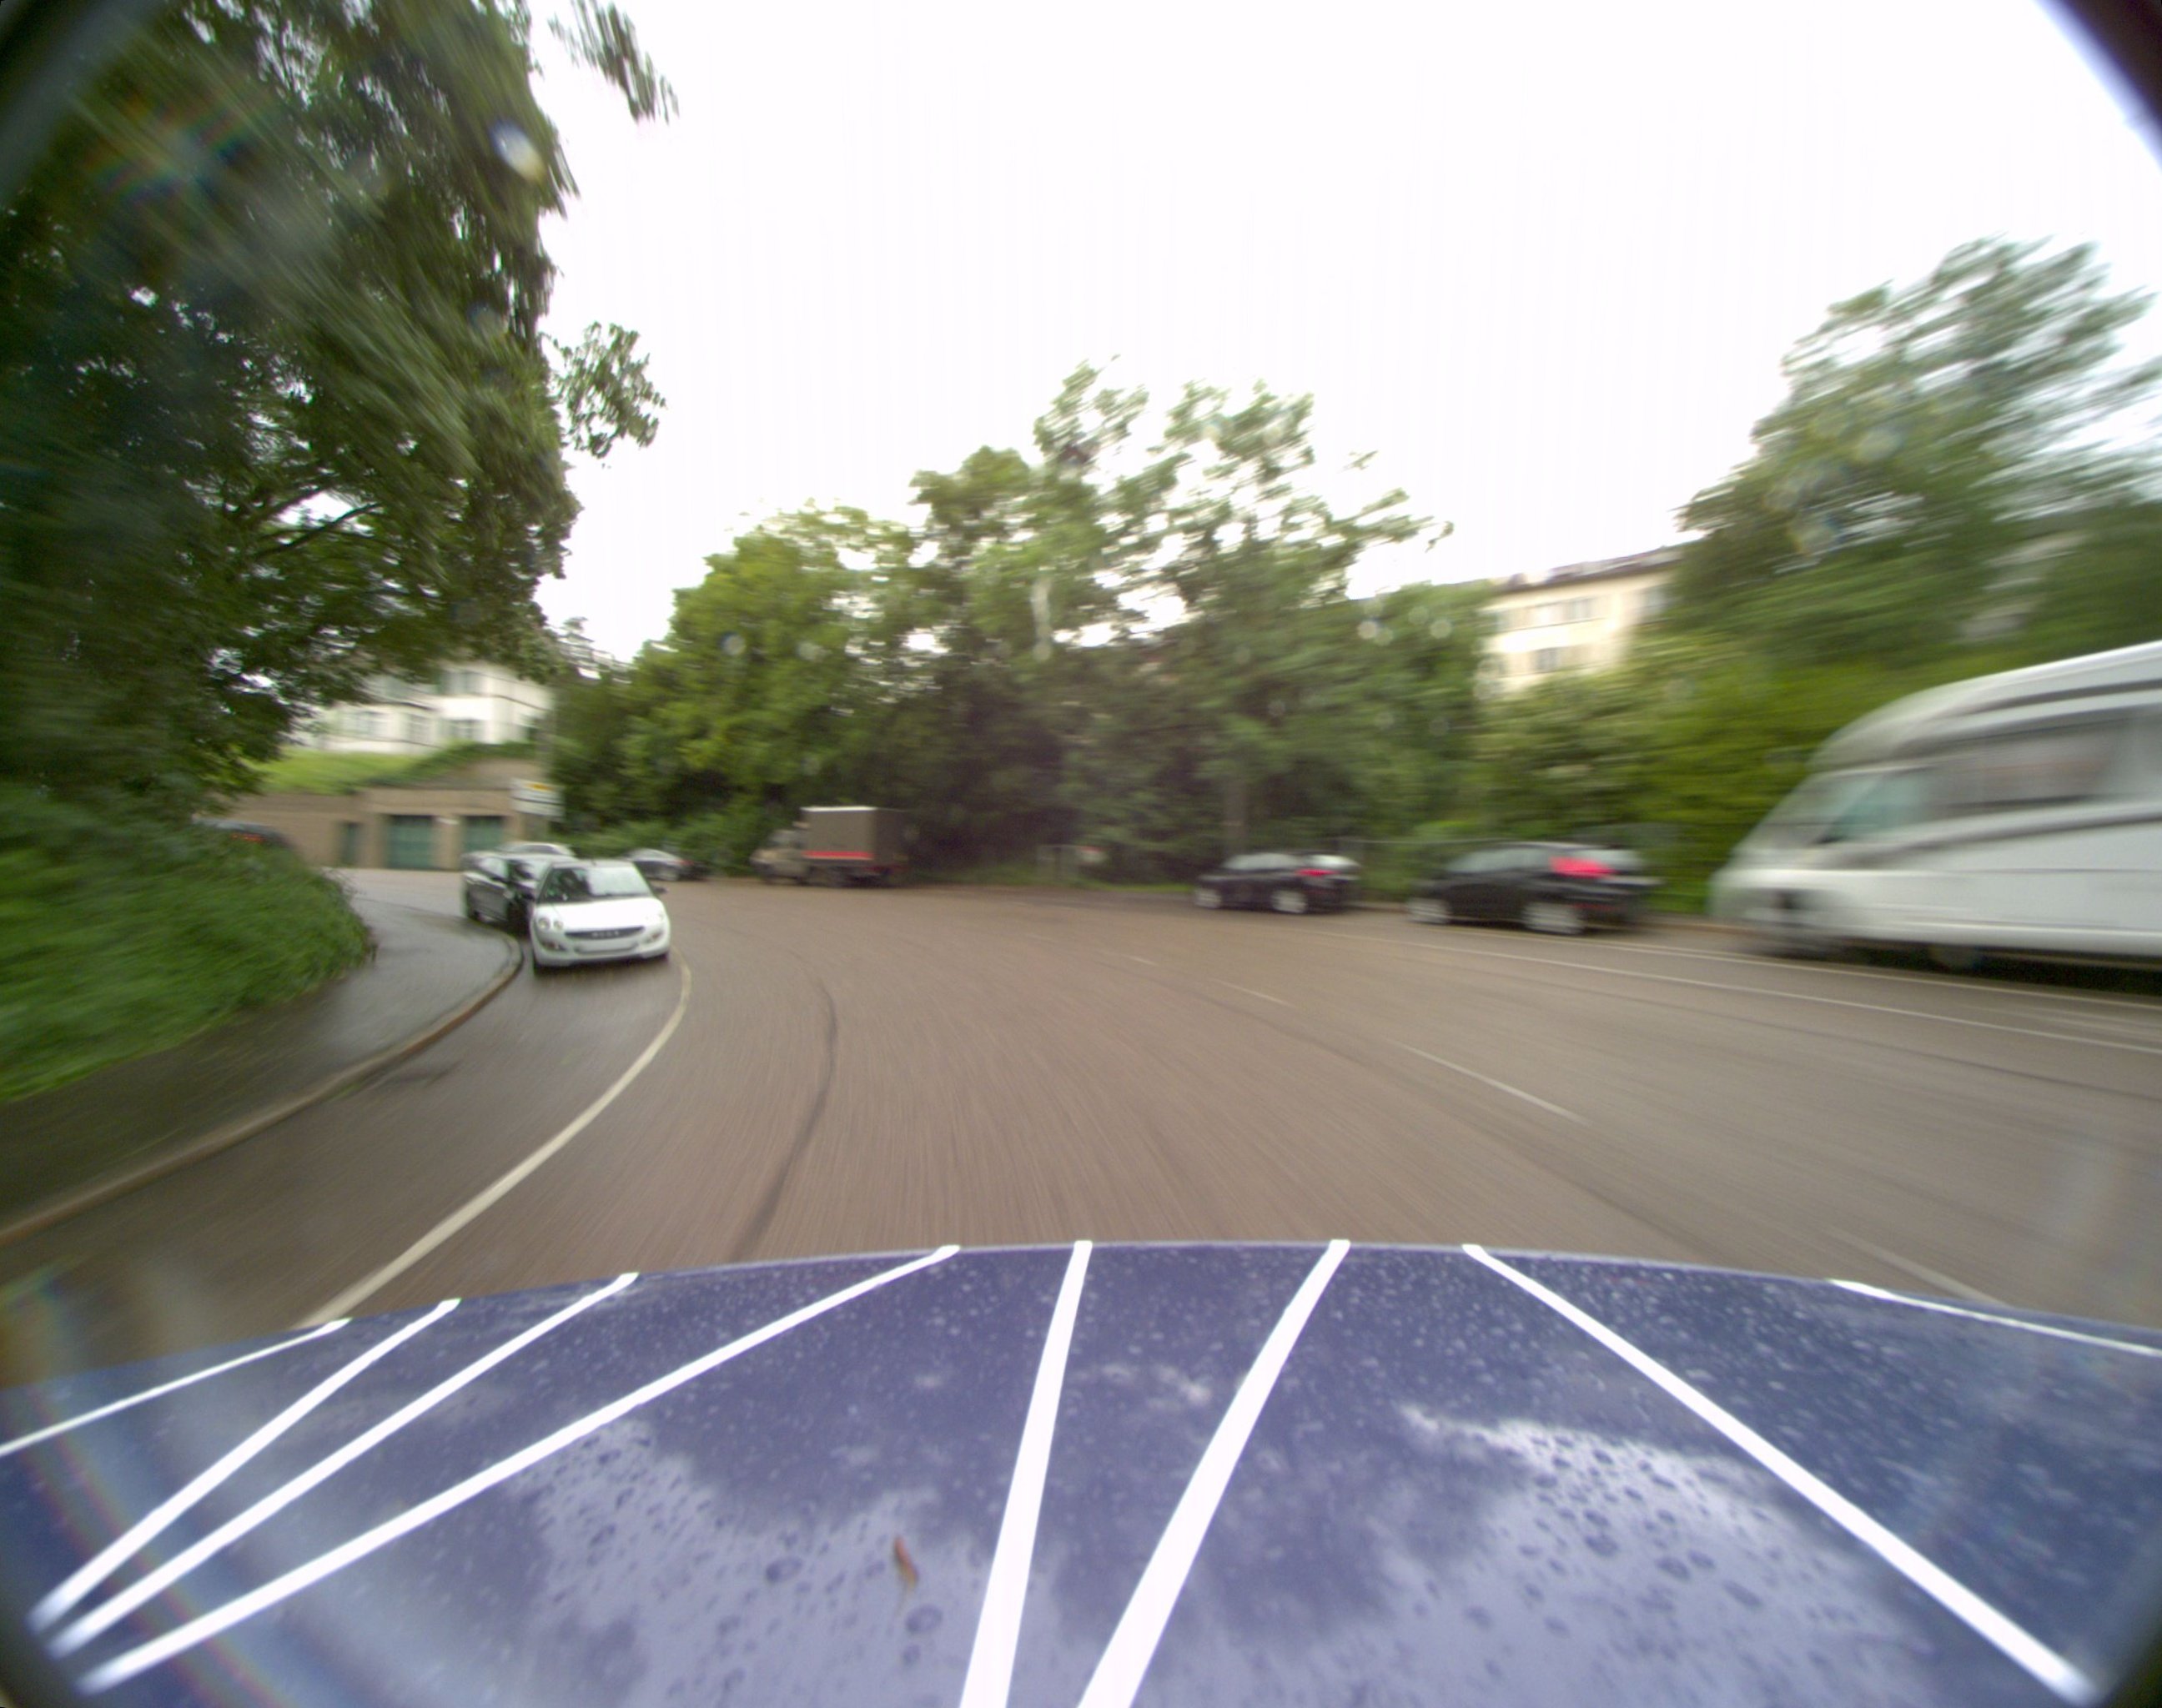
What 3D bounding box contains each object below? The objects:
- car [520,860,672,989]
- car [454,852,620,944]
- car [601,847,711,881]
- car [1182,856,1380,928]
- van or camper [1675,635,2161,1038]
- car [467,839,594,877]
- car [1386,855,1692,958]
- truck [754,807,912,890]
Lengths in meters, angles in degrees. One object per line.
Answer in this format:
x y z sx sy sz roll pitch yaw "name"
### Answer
-7.520 0.921 11.654 1.667 1.439 3.690 -2 3 -36 "car"
-10.966 0.776 15.238 3.974 1.422 1.684 3 4 39 "car"
-18.121 0.411 32.447 3.821 1.291 1.602 2 0 6 "car"
4.594 0.791 18.074 2.003 1.455 4.360 -1 1 -33 "car"
9.114 -0.170 5.798 2.458 2.949 7.521 -2 0 -8 "van or camper"
-23.829 0.185 33.012 4.106 1.404 1.759 3 -2 -2 "car"
7.345 0.746 12.724 1.916 1.403 4.125 0 0 -19 "car"
-9.876 -0.227 30.155 5.931 3.041 2.236 1 0 25 "truck"
